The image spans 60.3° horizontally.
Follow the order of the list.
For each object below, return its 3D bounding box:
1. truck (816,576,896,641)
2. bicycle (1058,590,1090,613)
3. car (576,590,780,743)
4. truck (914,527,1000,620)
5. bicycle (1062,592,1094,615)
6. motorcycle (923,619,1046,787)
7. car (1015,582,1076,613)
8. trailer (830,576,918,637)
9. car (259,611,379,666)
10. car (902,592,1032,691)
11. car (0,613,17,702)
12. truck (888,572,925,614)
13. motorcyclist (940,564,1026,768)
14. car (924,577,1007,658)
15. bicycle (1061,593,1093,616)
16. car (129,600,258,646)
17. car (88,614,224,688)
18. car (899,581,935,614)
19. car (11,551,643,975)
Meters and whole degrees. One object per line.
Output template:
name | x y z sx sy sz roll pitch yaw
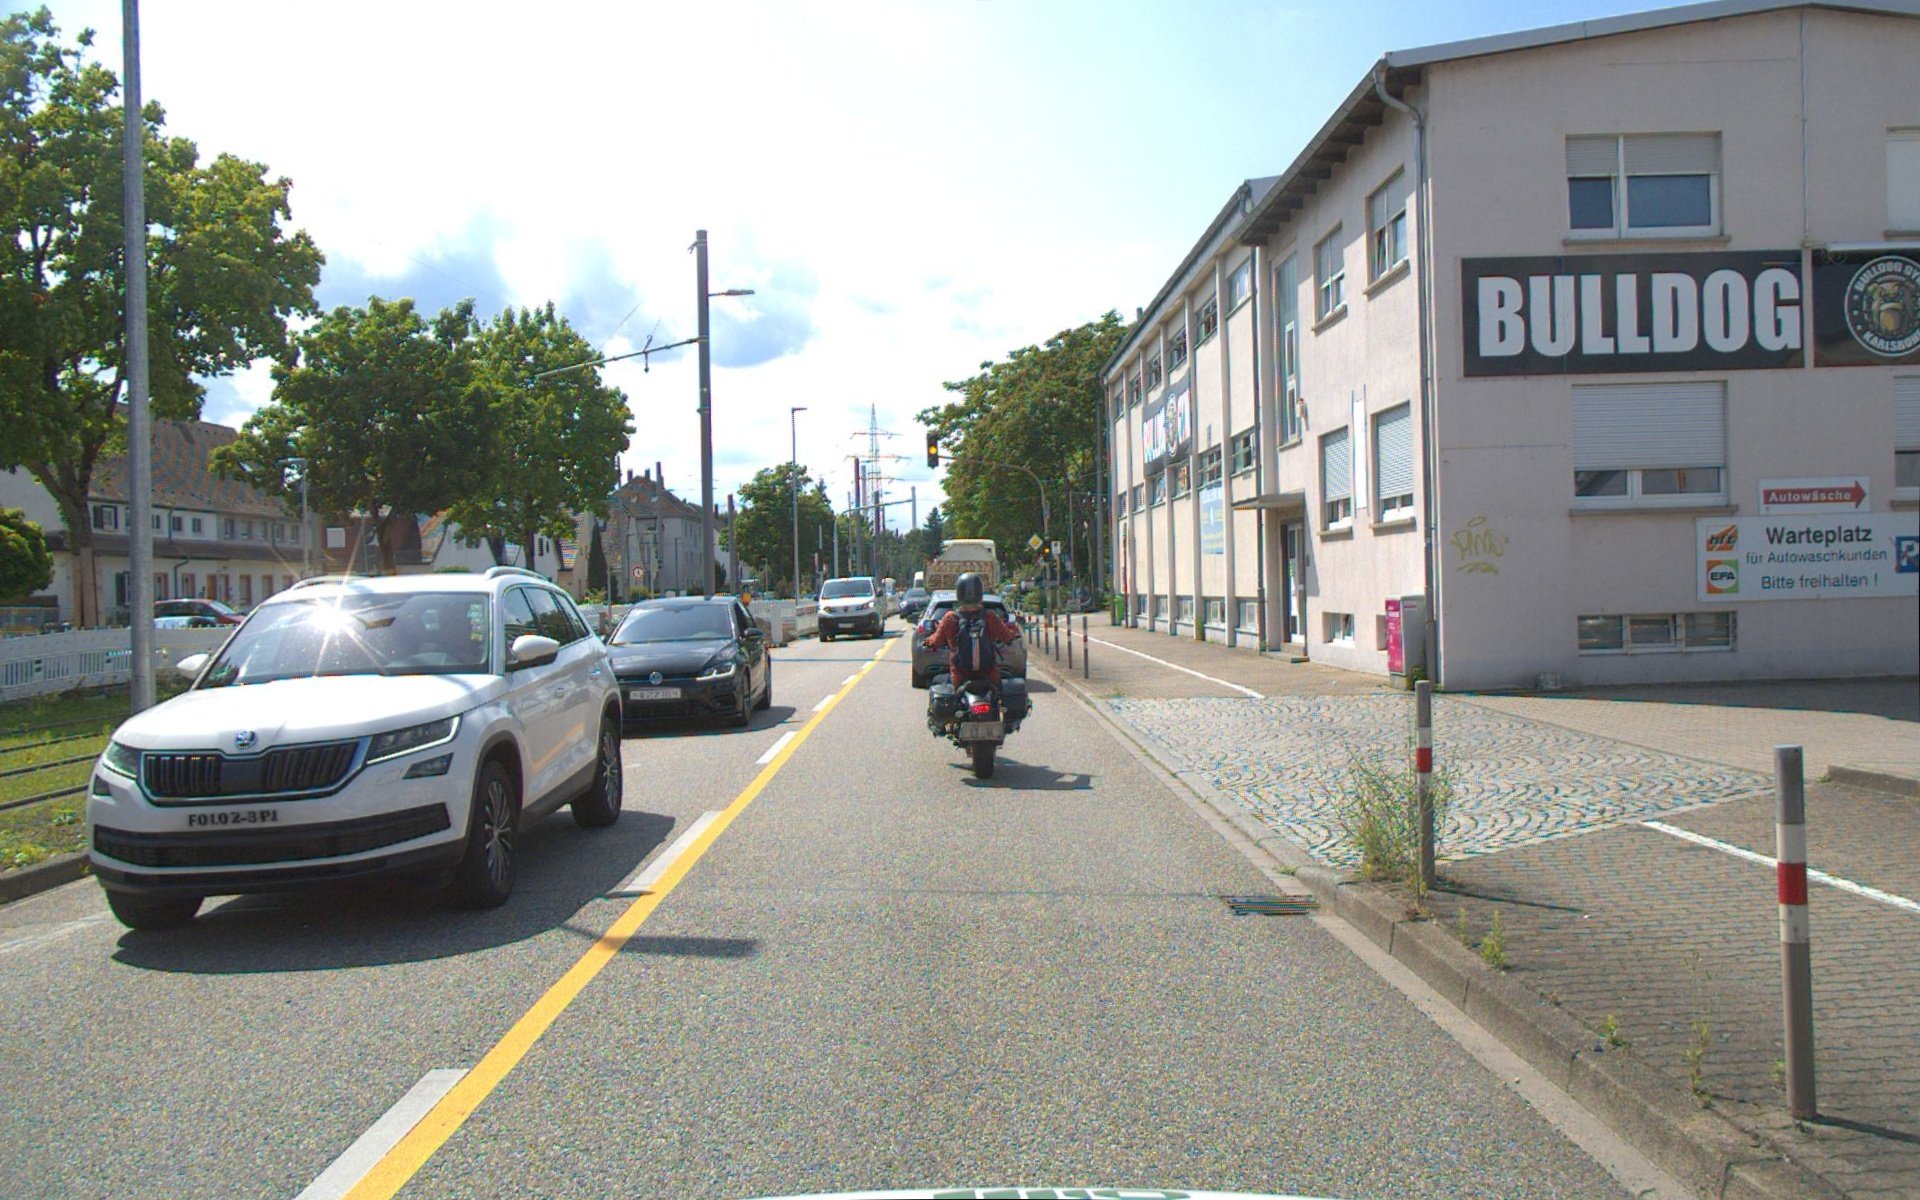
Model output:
truck | -3.234 0.213 52.300 1.781 1.943 5.120 0 1 5
bicycle | 6.048 0.093 87.857 1.671 1.192 0.438 0 -1 5
car | -3.137 0.693 19.080 1.659 1.437 3.858 -5 0 -1
truck | -0.003 -0.902 61.518 2.906 3.228 7.766 0 0 2
bicycle | 6.214 0.178 87.312 1.671 1.192 0.438 0 -1 5
motorcycle | 0.178 0.799 13.825 0.923 1.221 2.472 0 0 -1
car | 5.554 -0.174 106.937 1.773 1.959 3.972 0 0 44
trailer | -2.831 0.199 56.053 2.019 1.867 5.489 -4 0 6
car | -15.668 0.917 40.592 1.472 1.197 3.748 -2 0 -1
car | 0.037 0.594 26.236 1.697 1.428 4.082 1 0 -5
car | -15.849 0.938 25.055 1.322 1.401 3.114 -2 0 -1
truck | -3.460 -0.505 108.012 2.050 2.519 5.197 -3 2 0
motorcyclist | 0.179 0.532 13.645 0.684 1.632 0.692 0 -1 -1
car | 0.179 0.364 40.295 1.862 1.742 4.720 -2 2 1
bicycle | 6.123 0.235 86.848 1.671 1.192 0.438 0 -1 5
car | -28.200 0.836 60.939 3.905 1.536 1.725 -2 0 -2
car | -16.399 1.008 33.867 1.313 1.348 3.168 -2 0 -3
car | -2.071 -0.129 80.652 1.611 1.524 4.268 -1 1 0
car | -3.086 0.690 9.183 1.787 1.695 4.461 -3 0 -1
